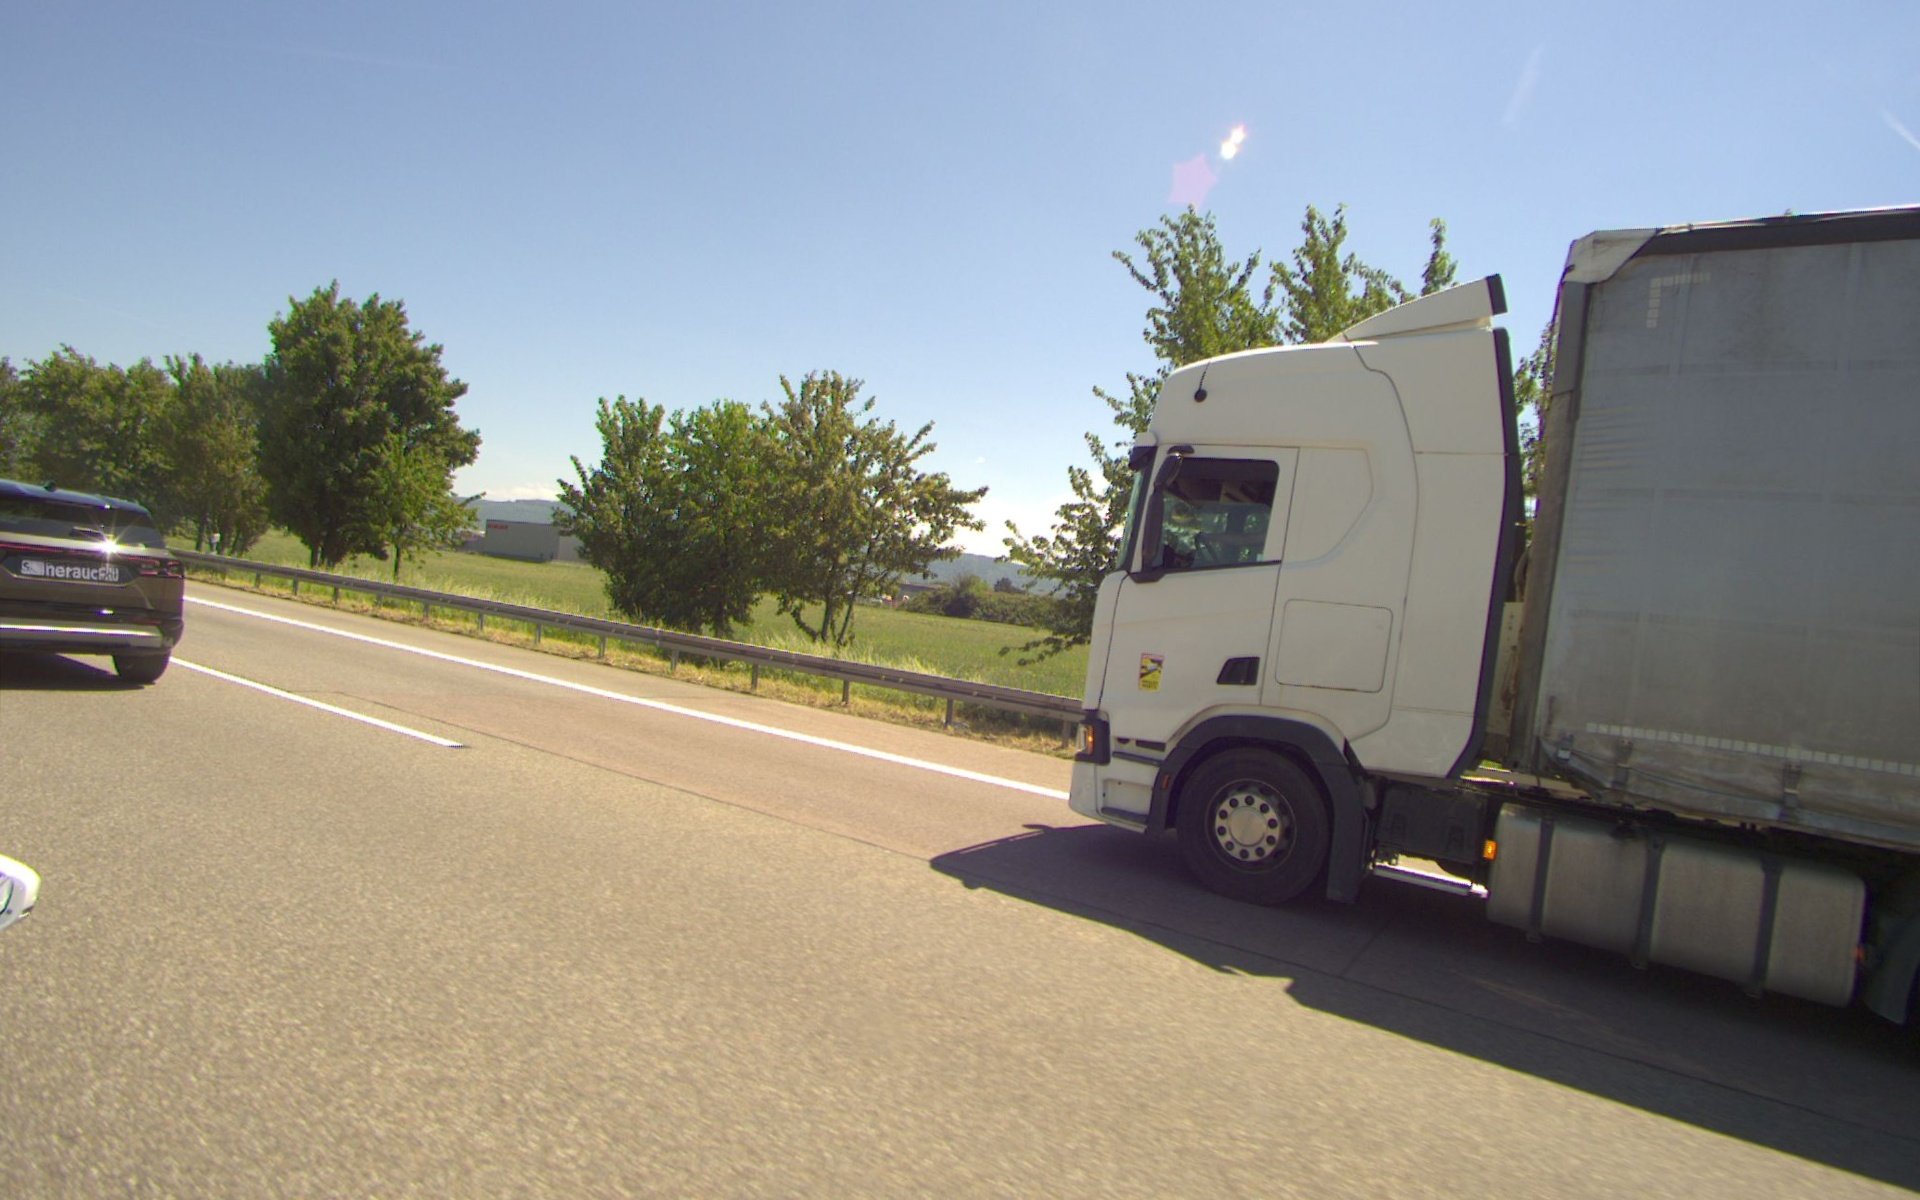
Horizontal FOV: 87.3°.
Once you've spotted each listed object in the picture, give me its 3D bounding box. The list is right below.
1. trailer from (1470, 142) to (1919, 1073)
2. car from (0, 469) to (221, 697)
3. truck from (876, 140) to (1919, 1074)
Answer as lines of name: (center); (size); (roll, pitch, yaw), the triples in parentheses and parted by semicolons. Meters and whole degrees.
trailer: (9.695, 0.614, 3.024); (14.021, 4.354, 2.815); (6, -2, 33)
car: (-9.035, -0.306, 9.234); (4.667, 1.694, 1.871); (6, -2, 32)
truck: (3.318, -0.086, 7.096); (7.075, 4.354, 2.815); (6, -2, 32)
